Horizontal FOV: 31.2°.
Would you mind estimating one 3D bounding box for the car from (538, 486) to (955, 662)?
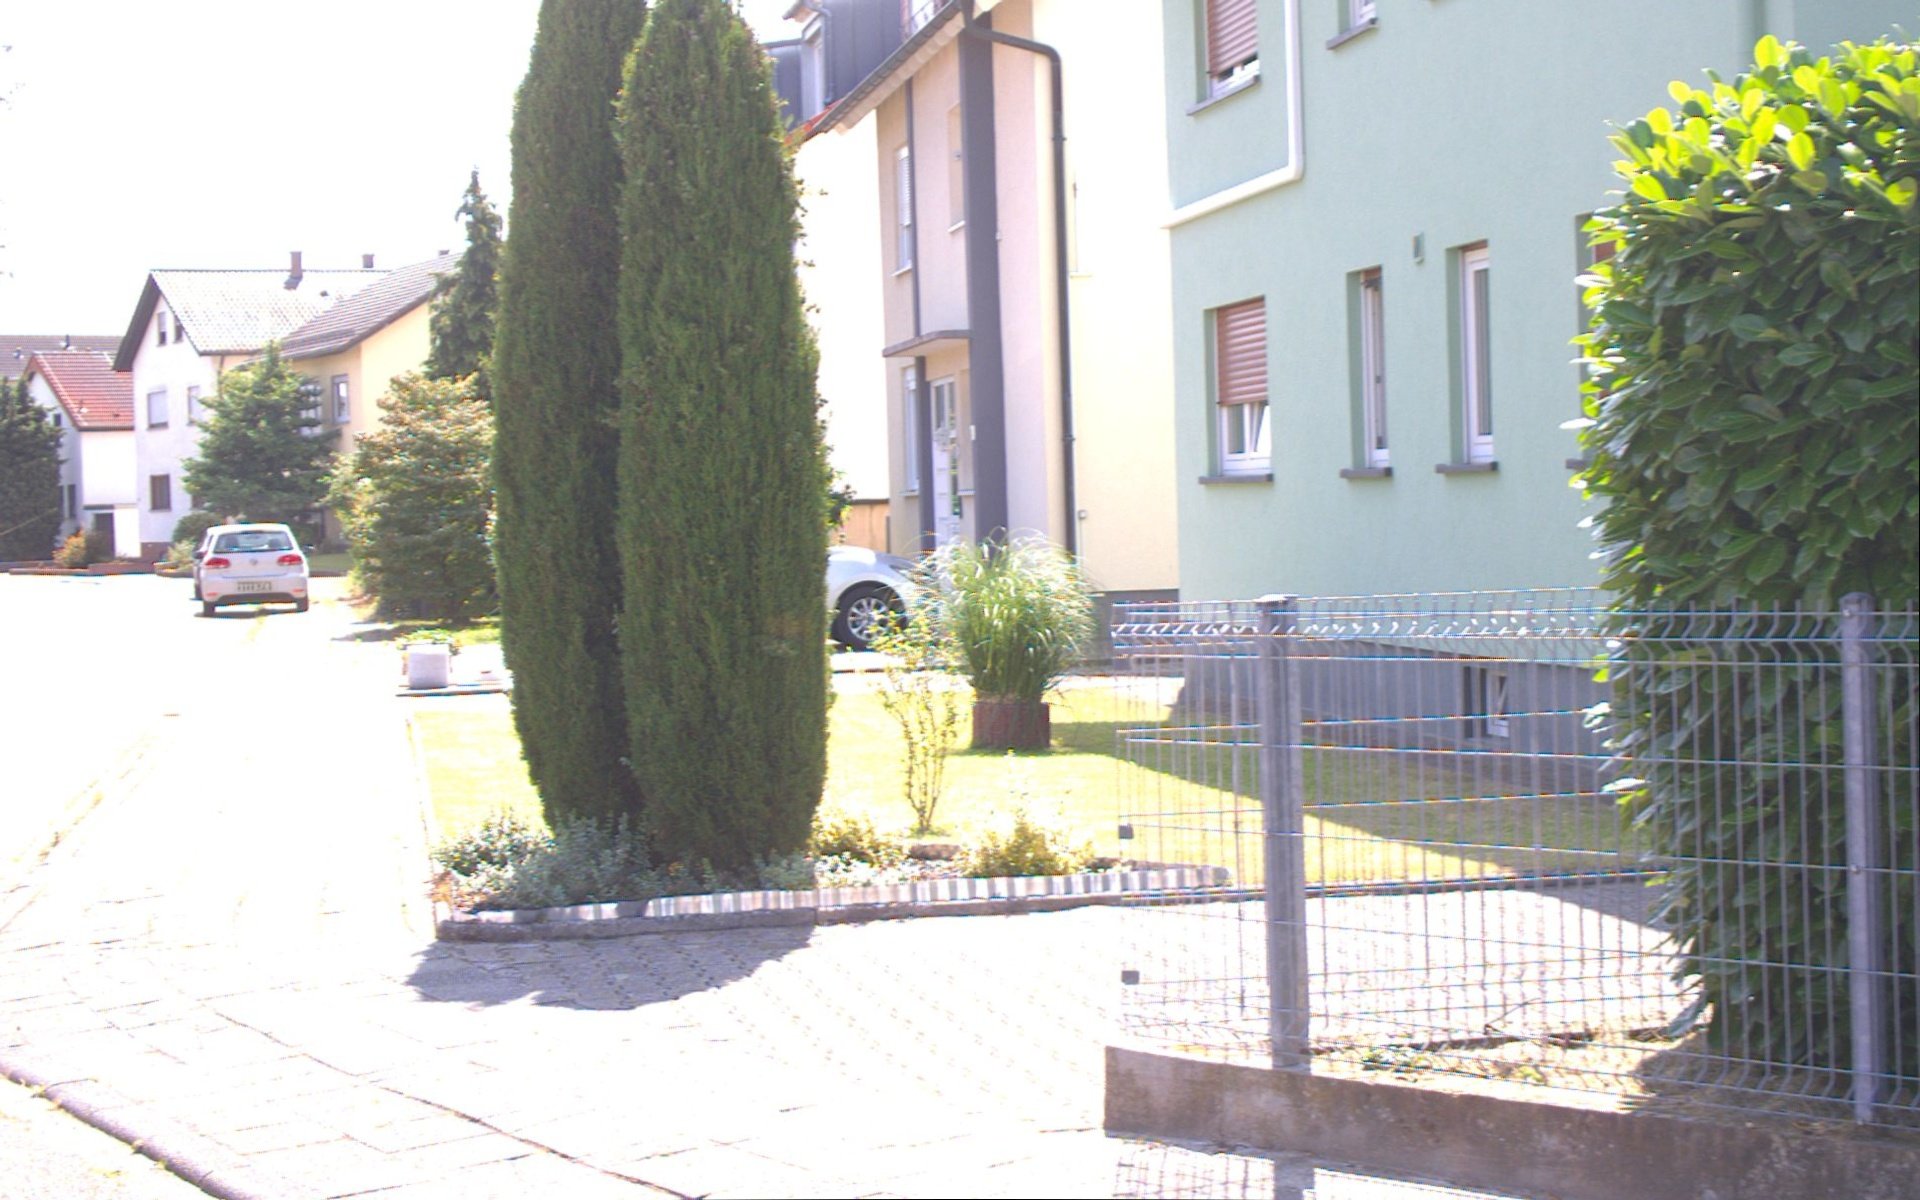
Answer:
[{"bbox_3d":[-2.145,-0.284,34.057,3.913,1.504,1.774,-3,2,-9],"label":"car"}]

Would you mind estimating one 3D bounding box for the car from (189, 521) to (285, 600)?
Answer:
[{"bbox_3d":[-14.751,-0.834,70.038,1.807,1.489,4.001,-2,2,-12],"label":"car"}]

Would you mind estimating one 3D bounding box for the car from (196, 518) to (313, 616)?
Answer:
[{"bbox_3d":[-11.823,-0.583,57.498,1.807,1.489,4.001,-2,2,-12],"label":"car"}]
